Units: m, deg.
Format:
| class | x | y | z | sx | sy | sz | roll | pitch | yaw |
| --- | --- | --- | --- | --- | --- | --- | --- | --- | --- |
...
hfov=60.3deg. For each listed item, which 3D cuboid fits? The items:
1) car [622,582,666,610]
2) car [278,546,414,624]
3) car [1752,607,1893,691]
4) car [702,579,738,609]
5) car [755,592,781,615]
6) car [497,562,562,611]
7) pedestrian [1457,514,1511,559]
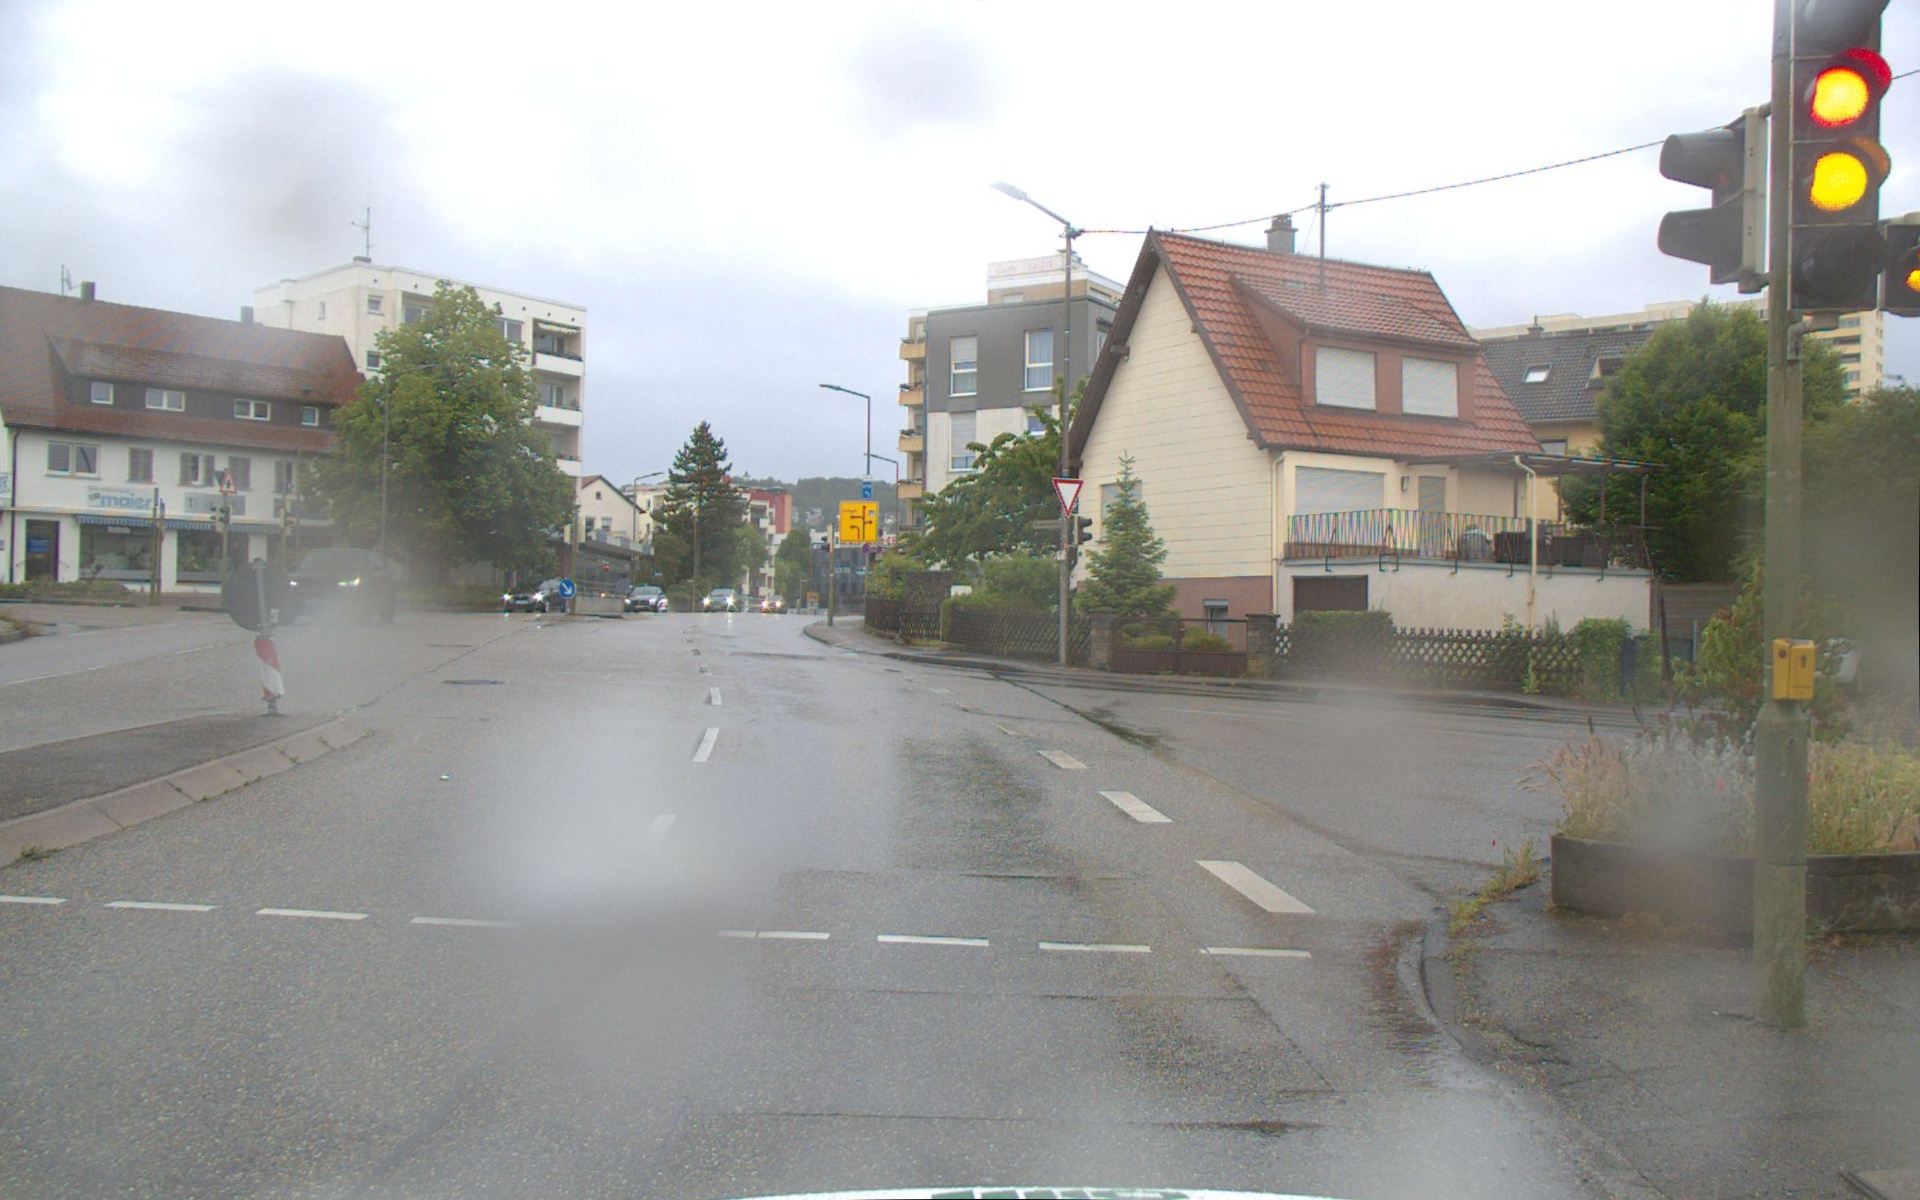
| class | x | y | z | sx | sy | sz | roll | pitch | yaw |
| --- | --- | --- | --- | --- | --- | --- | --- | --- | --- |
| car | -17.086 | -0.208 | 89.567 | 1.955 | 1.489 | 3.995 | 1 | 0 | -5 |
| car | -15.008 | -0.345 | 40.744 | 1.956 | 1.768 | 5.173 | 1 | 0 | -7 |
| car | 15.623 | 0.853 | 29.881 | 1.780 | 1.386 | 3.986 | 1 | 0 | 35 |
| car | -14.558 | -0.356 | 100.524 | 1.955 | 1.708 | 3.995 | 1 | 0 | -5 |
| car | -15.670 | 0.274 | 134.868 | 1.955 | 1.843 | 3.995 | 1 | 0 | -5 |
| car | -17.730 | -0.530 | 68.301 | 1.955 | 1.937 | 3.995 | 1 | 0 | -5 |
| pedestrian | 11.153 | -1.346 | 35.181 | 0.902 | 0.898 | 0.632 | 1 | -2 | -20 |
